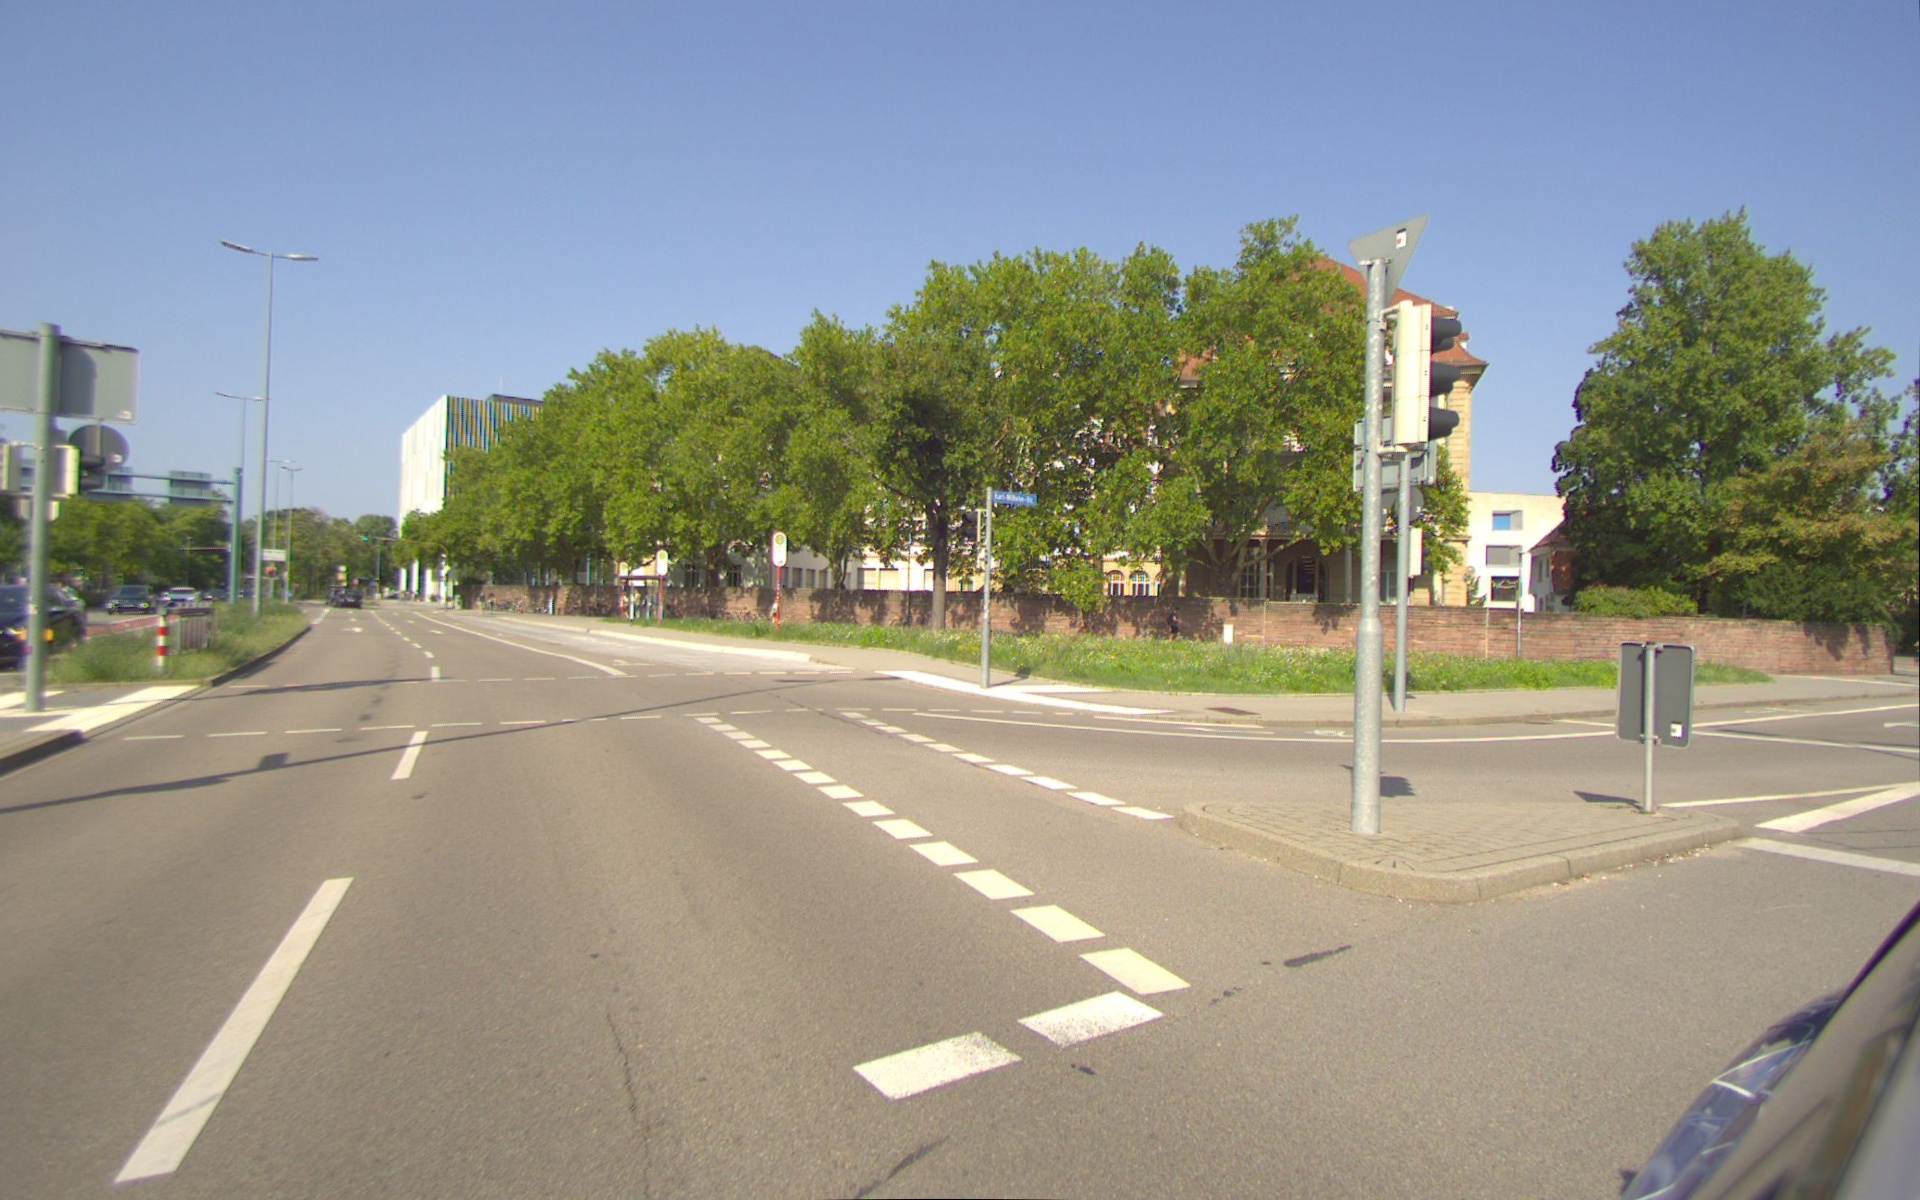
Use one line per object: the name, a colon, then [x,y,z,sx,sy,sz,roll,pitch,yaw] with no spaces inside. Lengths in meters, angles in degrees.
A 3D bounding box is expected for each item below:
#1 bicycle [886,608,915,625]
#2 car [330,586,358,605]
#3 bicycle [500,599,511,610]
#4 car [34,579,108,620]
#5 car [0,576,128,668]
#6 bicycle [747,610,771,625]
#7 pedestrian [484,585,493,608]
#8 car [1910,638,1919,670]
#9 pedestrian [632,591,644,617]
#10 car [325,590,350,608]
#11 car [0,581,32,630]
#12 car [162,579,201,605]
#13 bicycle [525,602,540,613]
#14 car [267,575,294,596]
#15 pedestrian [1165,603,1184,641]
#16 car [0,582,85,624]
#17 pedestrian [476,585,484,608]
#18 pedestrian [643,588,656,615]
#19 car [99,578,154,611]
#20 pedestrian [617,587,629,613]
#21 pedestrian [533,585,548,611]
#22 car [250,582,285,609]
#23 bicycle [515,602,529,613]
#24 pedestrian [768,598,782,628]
bicycle: [-3.189,0.881,54.031,1.538,0.846,0.429,2,-1,31]
car: [-52.857,-0.405,86.796,1.679,1.594,3.999,2,0,-36]
bicycle: [-37.877,0.358,84.309,0.426,0.846,1.548,2,0,-40]
car: [-39.215,-0.050,44.726,1.895,1.681,4.296,2,0,-34]
car: [-17.886,0.351,19.544,1.816,1.598,4.721,0,1,-27]
bicycle: [-11.819,1.040,59.581,1.539,0.846,0.428,2,-1,34]
pedestrian: [-36.687,-0.253,78.725,0.477,1.763,0.505,2,-3,-36]
car: [65.198,3.607,67.419,1.985,2.159,4.196,-1,-3,32]
pedestrian: [-20.859,0.257,65.542,0.591,1.673,0.476,-2,-3,38]
car: [-59.219,-0.103,96.229,1.680,1.594,3.999,2,0,-36]
car: [-30.860,0.140,31.451,1.959,1.525,4.300,2,0,-29]
car: [-54.705,-0.570,71.204,1.895,1.681,4.296,2,0,-34]
bicycle: [-33.136,0.573,78.463,1.545,0.846,0.427,1,-1,44]
car: [-73.065,-1.530,108.747,1.886,2.040,3.992,2,-3,-41]
pedestrian: [9.814,1.012,46.206,0.710,1.705,0.589,1,-1,24]
car: [-35.603,0.088,39.328,1.895,1.525,4.296,2,0,-34]
pedestrian: [-37.289,-0.260,78.642,0.477,1.763,0.505,2,-3,-36]
pedestrian: [-19.224,0.096,62.615,0.591,1.673,0.512,-2,-3,38]
car: [-45.380,-0.296,55.192,1.895,1.681,4.296,2,0,-34]
pedestrian: [-21.547,0.006,64.660,0.499,1.592,0.528,-2,-3,36]
pedestrian: [-32.568,-0.168,78.523,0.729,1.979,0.930,3,-4,-42]
car: [-42.908,-0.313,62.683,1.679,1.594,3.999,2,0,-36]
bicycle: [-34.583,0.573,79.900,1.545,0.846,0.427,1,-1,44]
pedestrian: [-10.462,0.728,57.211,0.590,1.673,0.477,-2,-3,34]
